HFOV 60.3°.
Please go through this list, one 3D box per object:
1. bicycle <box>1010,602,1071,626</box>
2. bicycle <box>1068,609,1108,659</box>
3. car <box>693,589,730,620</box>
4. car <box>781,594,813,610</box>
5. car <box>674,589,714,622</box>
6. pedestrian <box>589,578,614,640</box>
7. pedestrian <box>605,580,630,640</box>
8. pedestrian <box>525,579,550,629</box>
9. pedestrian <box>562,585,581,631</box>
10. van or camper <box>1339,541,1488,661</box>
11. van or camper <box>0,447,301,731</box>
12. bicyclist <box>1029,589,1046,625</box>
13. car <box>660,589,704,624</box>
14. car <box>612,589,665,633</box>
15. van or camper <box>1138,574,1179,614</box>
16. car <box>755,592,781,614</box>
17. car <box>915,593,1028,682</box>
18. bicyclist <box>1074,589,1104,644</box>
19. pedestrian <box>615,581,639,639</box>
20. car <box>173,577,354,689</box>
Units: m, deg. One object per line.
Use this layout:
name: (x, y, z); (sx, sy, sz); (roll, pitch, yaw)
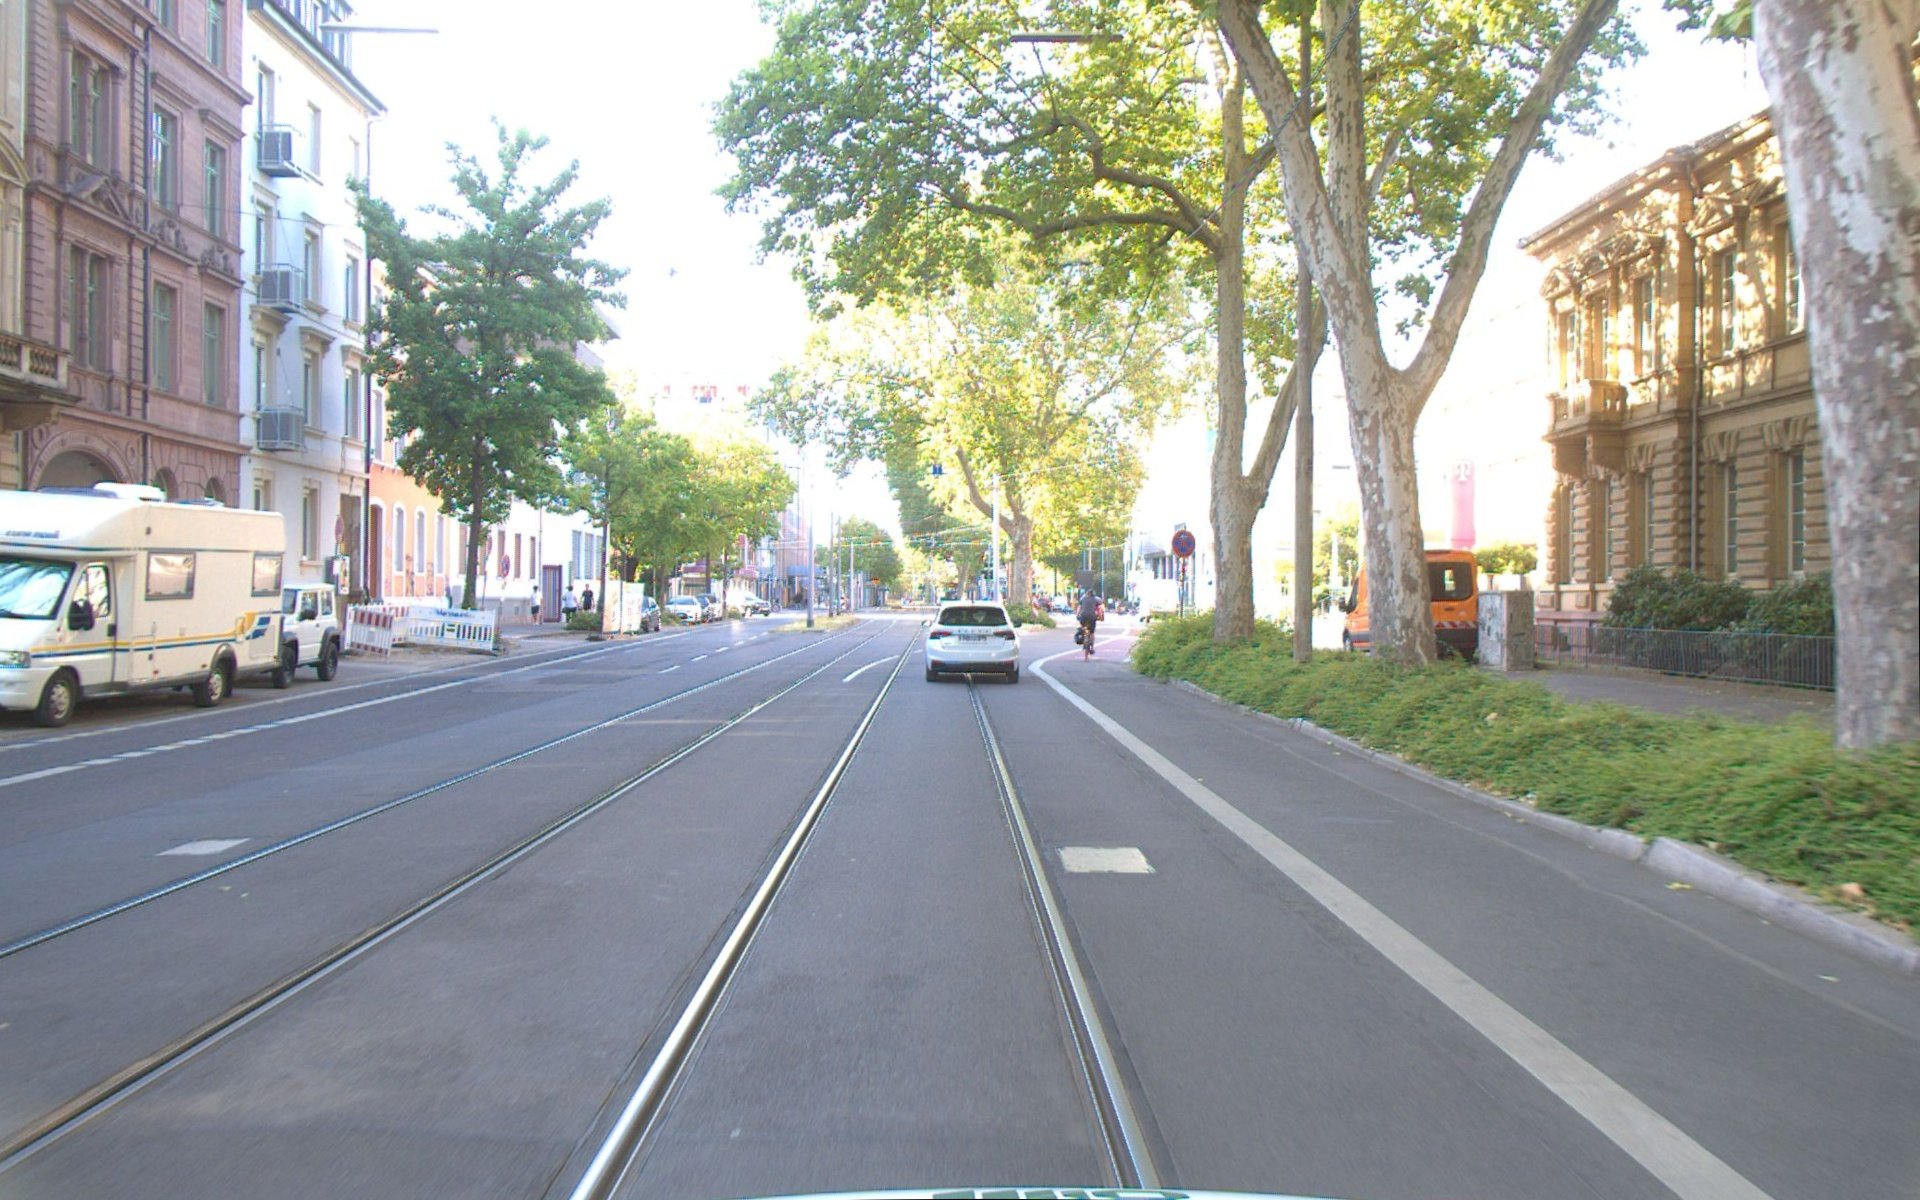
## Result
bicycle: (3.701, 0.637, 75.988); (2.711, 1.017, 0.593); (2, 0, 13)
bicycle: (3.213, 0.846, 41.714); (0.666, 1.175, 2.963); (2, 0, -2)
car: (-14.738, 0.244, 98.284); (1.758, 1.756, 3.782); (1, 0, -3)
car: (-20.304, 0.258, 206.367); (3.713, 1.850, 1.804); (2, 0, 4)
car: (-14.665, 0.278, 91.294); (1.758, 1.756, 3.782); (1, 0, -3)
pedestrian: (-11.860, 0.291, 54.800); (0.588, 2.037, 0.750); (1, 0, 3)
pedestrian: (-11.773, 0.341, 56.833); (0.633, 2.037, 0.750); (1, 0, 3)
pedestrian: (-17.690, 0.171, 69.285); (0.735, 2.037, 0.646); (1, 0, 37)
pedestrian: (-15.584, 0.313, 66.348); (0.589, 1.803, 0.700); (2, 0, -8)
van or camper: (10.268, 0.019, 37.863); (1.985, 2.507, 5.108); (2, 0, 0)
van or camper: (-11.394, -0.156, 22.227); (2.171, 3.195, 7.113); (1, 0, 0)
bicyclist: (3.562, 0.314, 76.029); (0.721, 1.617, 0.587); (0, 0, 11)
car: (-14.327, 0.327, 85.414); (1.758, 1.756, 3.782); (1, 0, -3)
car: (-13.312, 0.430, 68.737); (1.608, 1.756, 3.782); (1, 0, -3)
van or camper: (12.379, -0.354, 103.183); (1.953, 2.384, 3.999); (2, 0, -1)
car: (-13.642, 0.196, 117.555); (1.602, 1.503, 3.781); (1, 0, -4)
car: (0.148, 0.650, 30.796); (1.806, 1.506, 3.835); (1, 0, -4)
bicyclist: (3.255, 0.417, 41.846); (0.665, 1.362, 0.525); (2, 0, -2)
pedestrian: (-11.848, 0.352, 58.836); (0.633, 2.037, 0.750); (1, 0, 3)
car: (-11.797, 0.518, 28.268); (1.608, 1.756, 3.782); (1, 0, -3)
